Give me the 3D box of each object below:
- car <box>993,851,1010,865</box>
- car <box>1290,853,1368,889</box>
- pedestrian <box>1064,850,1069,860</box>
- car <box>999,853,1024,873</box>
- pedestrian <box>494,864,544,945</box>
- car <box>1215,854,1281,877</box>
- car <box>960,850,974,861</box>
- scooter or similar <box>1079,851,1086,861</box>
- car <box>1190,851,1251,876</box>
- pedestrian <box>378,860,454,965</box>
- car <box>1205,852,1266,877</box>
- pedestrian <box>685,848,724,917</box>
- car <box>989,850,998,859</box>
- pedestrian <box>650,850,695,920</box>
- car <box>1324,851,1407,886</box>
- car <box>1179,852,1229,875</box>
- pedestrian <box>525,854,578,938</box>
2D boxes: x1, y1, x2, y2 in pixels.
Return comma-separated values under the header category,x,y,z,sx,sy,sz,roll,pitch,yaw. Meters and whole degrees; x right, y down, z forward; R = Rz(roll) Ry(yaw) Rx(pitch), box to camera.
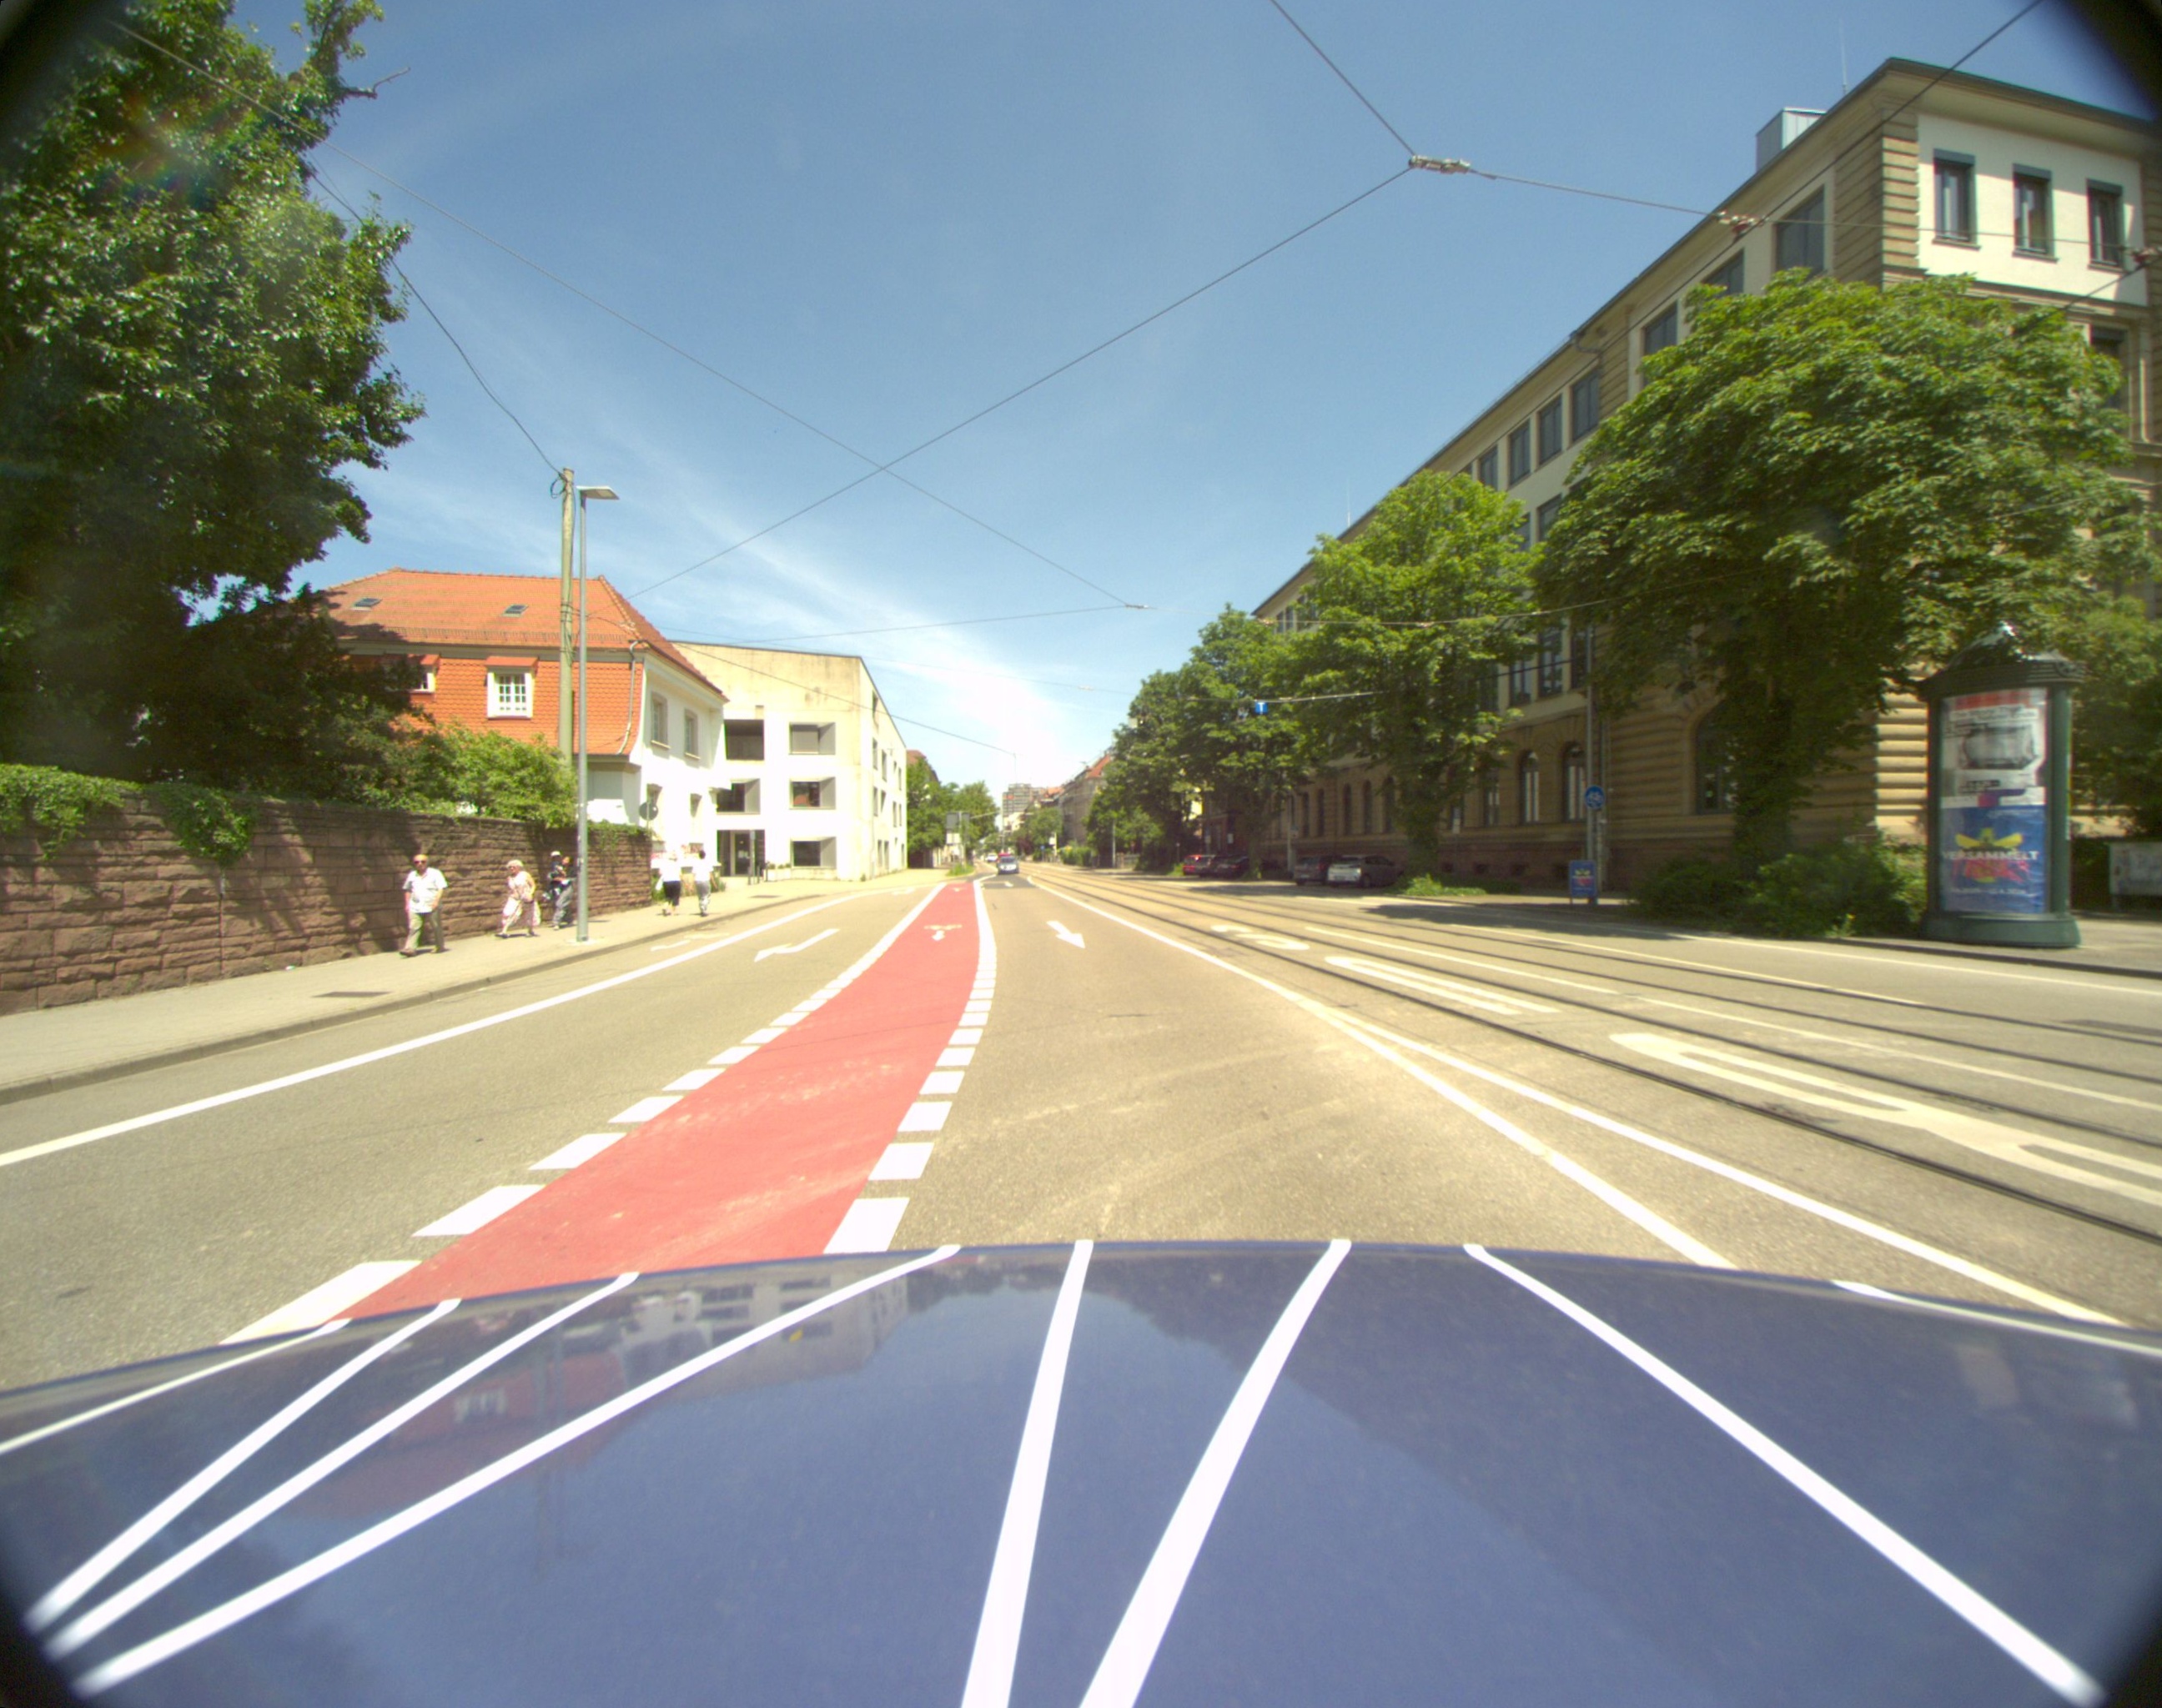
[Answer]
category,x,y,z,sx,sy,sz,roll,pitch,yaw
car,-9.827,0.465,93.461,1.876,1.638,3.775,-1,1,-8
car,11.743,0.771,35.913,3.683,1.511,1.665,-2,1,-36
pedestrian,-2.326,0.102,123.598,0.742,1.632,0.939,0,1,-5
car,-5.872,0.702,64.040,1.894,1.561,4.033,-1,1,-8
pedestrian,-10.838,0.962,14.674,0.517,1.524,0.597,0,1,-3
car,10.243,0.702,46.511,3.941,1.366,1.665,0,0,-33
car,-15.868,0.201,106.154,1.865,1.568,4.874,-1,0,-8
scooter or similar,0.255,0.275,112.414,1.012,1.443,0.596,-1,2,-8
car,9.630,0.627,52.313,4.330,1.575,1.665,-2,1,-37
pedestrian,-10.606,0.912,12.138,0.662,1.637,0.624,0,1,-3
car,10.120,0.650,49.614,3.826,1.568,1.789,0,0,-37
pedestrian,-9.966,0.733,20.146,0.679,1.797,0.747,0,1,-4
car,-17.340,0.073,150.895,1.621,1.700,3.427,-1,1,-7
pedestrian,-10.753,0.798,20.005,0.816,1.797,0.700,0,1,-4
car,12.462,0.615,33.195,3.556,1.398,1.697,-1,1,-36
car,9.001,0.684,55.662,3.358,1.507,1.665,-2,1,-34
pedestrian,-11.420,0.885,16.407,0.719,1.763,0.628,-1,0,-13
